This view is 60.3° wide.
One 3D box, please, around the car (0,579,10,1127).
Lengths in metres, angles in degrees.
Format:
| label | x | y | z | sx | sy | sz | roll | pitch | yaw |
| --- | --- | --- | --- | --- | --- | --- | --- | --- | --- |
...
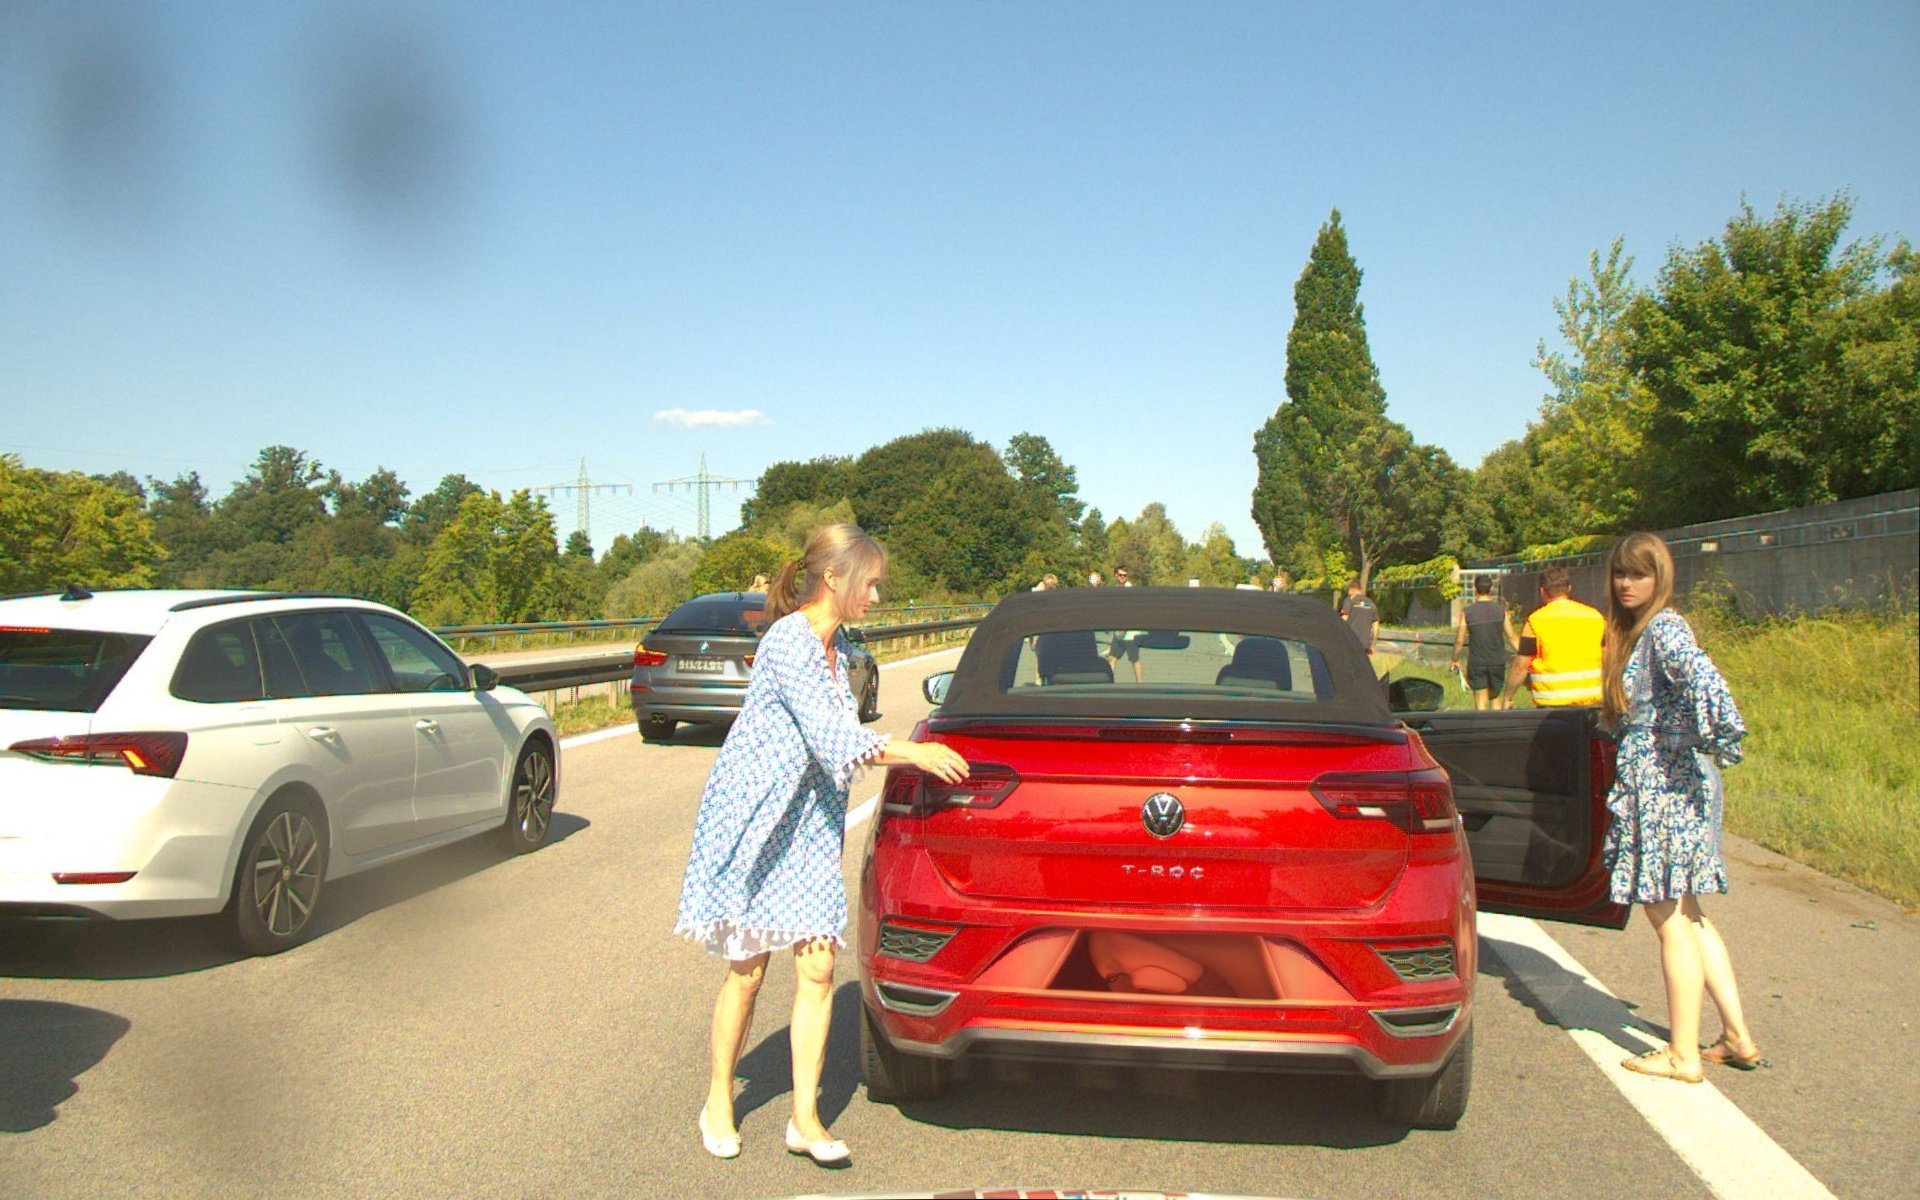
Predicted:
| label | x | y | z | sx | sy | sz | roll | pitch | yaw |
| --- | --- | --- | --- | --- | --- | --- | --- | --- | --- |
| car | -3.479 | 0.718 | 2.360 | 1.752 | 1.519 | 4.491 | -1 | 0 | -2 |

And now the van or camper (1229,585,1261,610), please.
| label | x | y | z | sx | sy | sz | roll | pitch | yaw |
| --- | --- | --- | --- | --- | --- | --- | --- | --- | --- |
| van or camper | 26.906 | -0.219 | 156.214 | 1.954 | 2.356 | 4.468 | 1 | 0 | 24 |

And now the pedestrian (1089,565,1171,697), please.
| label | x | y | z | sx | sy | sz | roll | pitch | yaw |
| --- | --- | --- | --- | --- | --- | --- | --- | --- | --- |
| pedestrian | 2.558 | 0.455 | 25.051 | 1.083 | 1.946 | 1.257 | -1 | 0 | 0 |

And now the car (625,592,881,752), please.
| label | x | y | z | sx | sy | sz | roll | pitch | yaw |
| --- | --- | --- | --- | --- | --- | --- | --- | --- | --- |
| car | -2.033 | 0.658 | 17.539 | 1.658 | 1.451 | 4.337 | 1 | 0 | 7 |

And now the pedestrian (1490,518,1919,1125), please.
| label | x | y | z | sx | sy | sz | roll | pitch | yaw |
| --- | --- | --- | --- | --- | --- | --- | --- | --- | --- |
| pedestrian | 2.346 | 0.633 | 5.166 | 1.101 | 1.725 | 0.893 | -1 | 0 | 2 |

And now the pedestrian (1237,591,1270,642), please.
| label | x | y | z | sx | sy | sz | roll | pitch | yaw |
| --- | --- | --- | --- | --- | --- | --- | --- | --- | --- |
| pedestrian | 10.029 | 0.556 | 56.446 | 1.033 | 1.719 | 1.018 | 1 | 0 | 14 |

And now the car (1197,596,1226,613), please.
| label | x | y | z | sx | sy | sz | roll | pitch | yaw |
| --- | --- | --- | --- | --- | --- | --- | --- | --- | --- |
| car | 24.029 | 0.412 | 157.879 | 1.697 | 1.513 | 4.208 | 1 | 0 | 23 |

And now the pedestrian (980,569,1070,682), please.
| label | x | y | z | sx | sy | sz | roll | pitch | yaw |
| --- | --- | --- | --- | --- | --- | --- | --- | --- | --- |
| pedestrian | 1.064 | 0.414 | 27.208 | 1.074 | 1.820 | 1.099 | 1 | 0 | -25 |

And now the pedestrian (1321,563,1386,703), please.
| label | x | y | z | sx | sy | sz | roll | pitch | yaw |
| --- | --- | --- | --- | --- | --- | --- | --- | --- | --- |
| pedestrian | 5.187 | 0.430 | 21.765 | 0.794 | 1.790 | 0.829 | 1 | 0 | 14 |

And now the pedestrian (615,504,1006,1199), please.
| label | x | y | z | sx | sy | sz | roll | pitch | yaw |
| --- | --- | --- | --- | --- | --- | --- | --- | --- | --- |
| pedestrian | -0.415 | 0.628 | 4.360 | 0.828 | 1.712 | 0.738 | 0 | 0 | -24 |

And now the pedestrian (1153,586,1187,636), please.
| label | x | y | z | sx | sy | sz | roll | pitch | yaw |
| --- | --- | --- | --- | --- | --- | --- | --- | --- | --- |
| pedestrian | 7.321 | 0.378 | 57.596 | 1.090 | 1.719 | 0.974 | 1 | 0 | 11 |

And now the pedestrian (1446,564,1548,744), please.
| label | x | y | z | sx | sy | sz | roll | pitch | yaw |
| --- | --- | --- | --- | --- | --- | --- | --- | --- | --- |
| pedestrian | 5.380 | 0.527 | 16.616 | 0.875 | 1.755 | 0.755 | 1 | 0 | 12 |

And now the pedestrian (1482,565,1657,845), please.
| label | x | y | z | sx | sy | sz | roll | pitch | yaw |
| --- | --- | --- | --- | --- | --- | --- | --- | --- | --- |
| pedestrian | 3.900 | 0.635 | 10.688 | 0.937 | 1.682 | 1.279 | -1 | 0 | 15 |

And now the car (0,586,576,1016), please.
| label | x | y | z | sx | sy | sz | roll | pitch | yaw |
| --- | --- | --- | --- | --- | --- | --- | --- | --- | --- |
| car | -3.387 | 0.679 | 7.877 | 1.658 | 1.467 | 4.213 | 1 | 0 | 7 |

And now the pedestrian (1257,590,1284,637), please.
| label | x | y | z | sx | sy | sz | roll | pitch | yaw |
| --- | --- | --- | --- | --- | --- | --- | --- | --- | --- |
| pedestrian | 11.616 | 0.504 | 61.954 | 0.975 | 1.719 | 1.011 | 1 | 0 | 10 |

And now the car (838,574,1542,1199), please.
| label | x | y | z | sx | sy | sz | roll | pitch | yaw |
| --- | --- | --- | --- | --- | --- | --- | --- | --- | --- |
| car | 0.804 | 0.696 | 6.157 | 1.695 | 1.513 | 4.213 | 1 | 0 | 7 |

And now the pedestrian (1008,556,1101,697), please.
| label | x | y | z | sx | sy | sz | roll | pitch | yaw |
| --- | --- | --- | --- | --- | --- | --- | --- | --- | --- |
| pedestrian | 1.337 | 0.361 | 23.158 | 1.043 | 1.916 | 1.094 | -1 | 0 | 18 |

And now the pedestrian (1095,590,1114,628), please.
| label | x | y | z | sx | sy | sz | roll | pitch | yaw |
| --- | --- | --- | --- | --- | --- | --- | --- | --- | --- |
| pedestrian | 6.735 | 0.426 | 76.883 | 0.774 | 1.719 | 0.793 | 1 | 0 | 12 |

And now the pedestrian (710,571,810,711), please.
| label | x | y | z | sx | sy | sz | roll | pitch | yaw |
| --- | --- | --- | --- | --- | --- | --- | --- | --- | --- |
| pedestrian | -2.636 | 0.532 | 21.907 | 1.018 | 1.794 | 1.119 | -1 | 0 | 10 |
